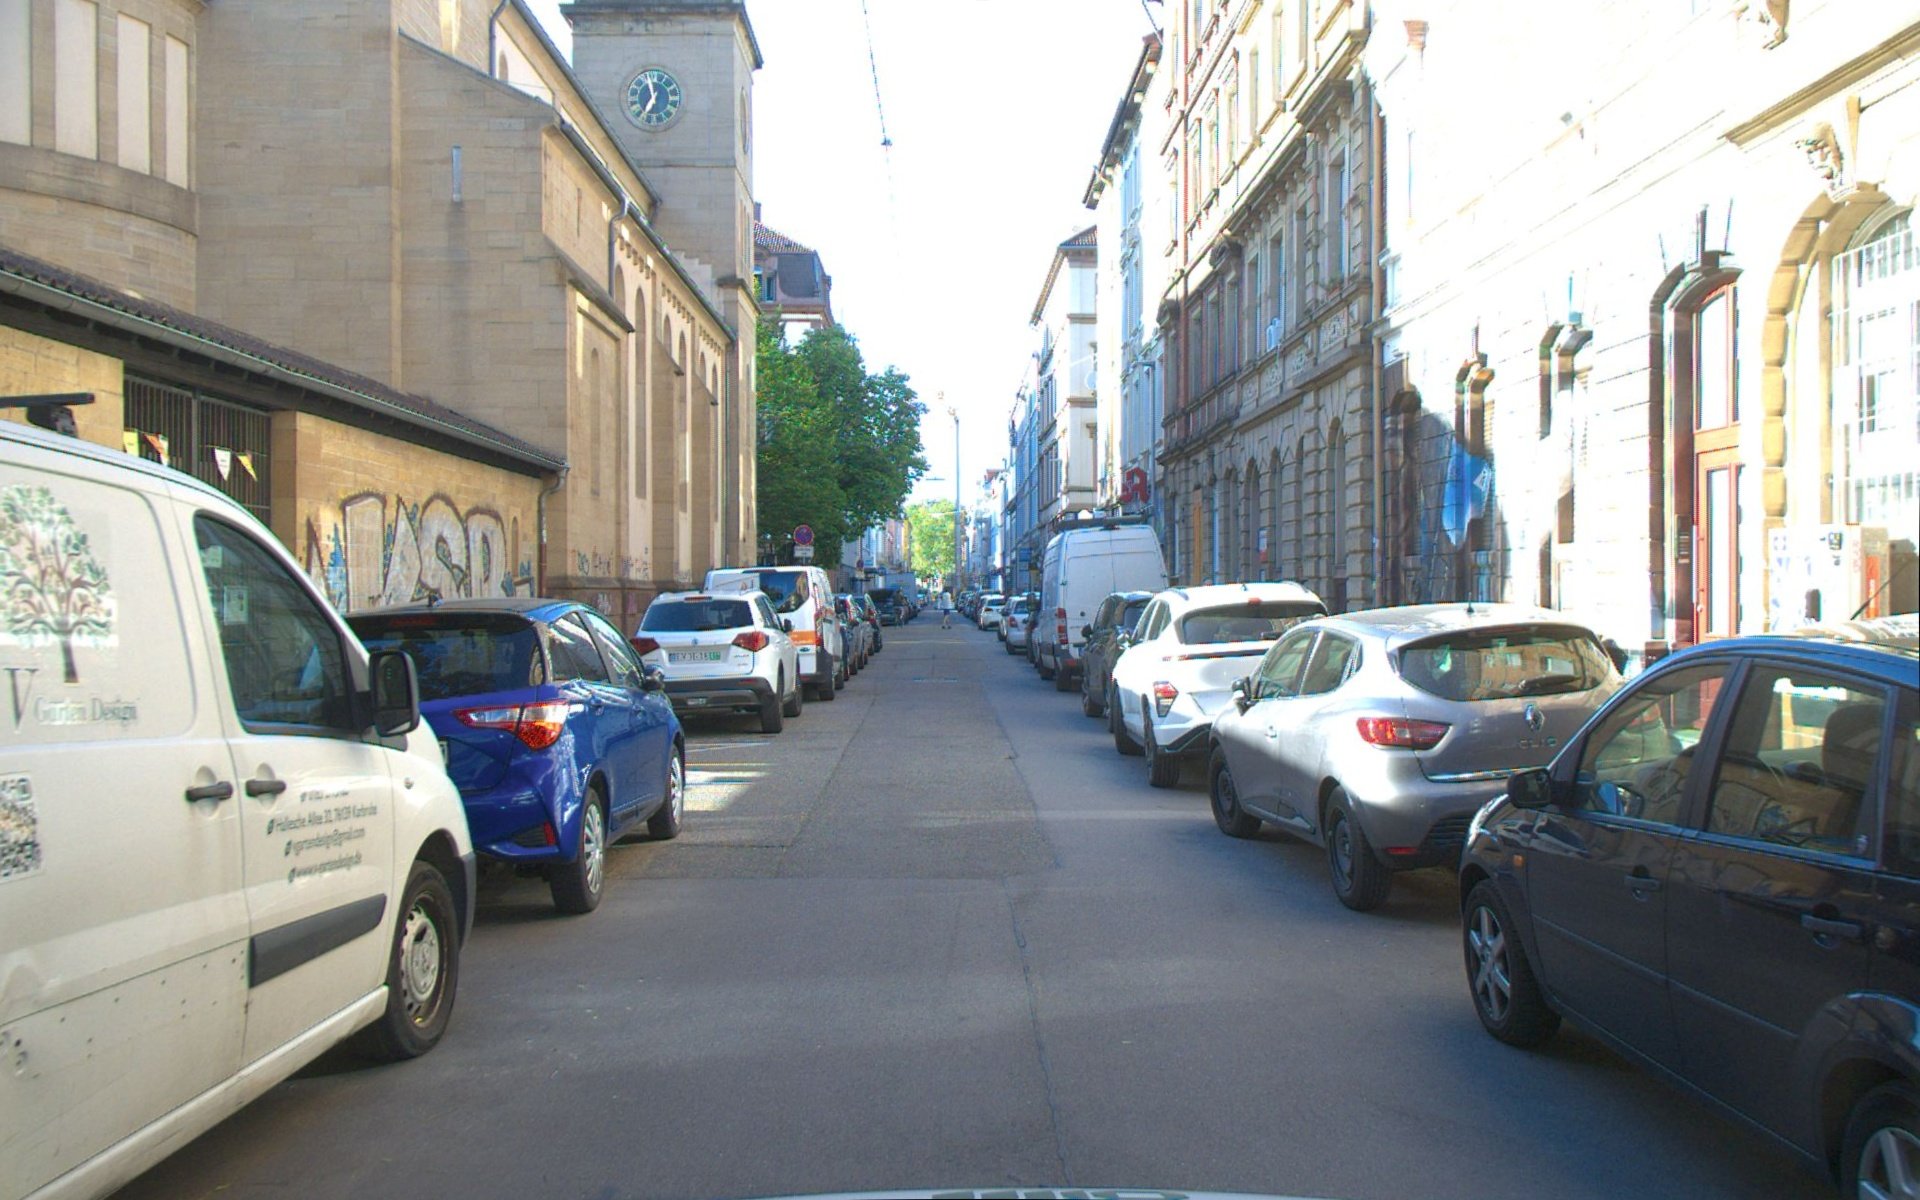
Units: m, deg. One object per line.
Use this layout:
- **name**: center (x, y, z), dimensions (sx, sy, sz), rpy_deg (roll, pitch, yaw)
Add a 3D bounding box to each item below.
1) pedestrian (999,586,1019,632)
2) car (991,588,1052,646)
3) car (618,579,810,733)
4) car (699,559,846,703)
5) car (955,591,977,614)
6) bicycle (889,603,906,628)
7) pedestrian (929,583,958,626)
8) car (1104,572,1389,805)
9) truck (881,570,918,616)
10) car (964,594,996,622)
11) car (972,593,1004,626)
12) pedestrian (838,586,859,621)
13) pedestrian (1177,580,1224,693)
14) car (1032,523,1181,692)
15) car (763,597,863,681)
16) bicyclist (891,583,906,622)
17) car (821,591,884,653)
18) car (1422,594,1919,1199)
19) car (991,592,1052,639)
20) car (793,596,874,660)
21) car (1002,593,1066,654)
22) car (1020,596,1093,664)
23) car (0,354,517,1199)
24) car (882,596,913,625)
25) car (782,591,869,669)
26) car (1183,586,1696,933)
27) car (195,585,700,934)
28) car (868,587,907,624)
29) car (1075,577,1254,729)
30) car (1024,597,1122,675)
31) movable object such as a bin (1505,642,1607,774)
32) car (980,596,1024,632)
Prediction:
- **pedestrian**: center (2.037, 0.357, 68.877), dimensions (0.669, 1.875, 0.692), rpy_deg (2, 0, -12)
- **car**: center (1.869, 0.495, 50.890), dimensions (1.681, 1.674, 4.000), rpy_deg (1, 0, 0)
- **car**: center (-2.820, 0.603, 19.741), dimensions (1.707, 1.614, 3.868), rpy_deg (1, 0, -1)
- **car**: center (-2.796, 0.431, 25.567), dimensions (1.826, 1.991, 4.609), rpy_deg (-1, 0, -1)
- **car**: center (0.568, 0.237, 150.643), dimensions (1.953, 2.049, 4.000), rpy_deg (1, 0, 0)
- **bicycle**: center (-2.808, 0.686, 74.421), dimensions (0.724, 1.062, 1.859), rpy_deg (1, 0, 0)
- **pedestrian**: center (-0.721, 0.205, 73.755), dimensions (0.998, 1.875, 0.777), rpy_deg (2, 0, -32)
- **car**: center (2.407, 0.705, 14.950), dimensions (1.771, 1.719, 4.214), rpy_deg (3, 0, 0)
- **truck**: center (-4.485, -0.497, 124.155), dimensions (2.480, 3.339, 6.993), rpy_deg (1, 0, 0)
- **car**: center (1.291, 0.515, 107.703), dimensions (1.953, 1.660, 4.000), rpy_deg (3, 0, 0)
- **car**: center (1.577, 0.521, 94.395), dimensions (1.733, 1.771, 4.000), rpy_deg (1, 0, 0)
- **pedestrian**: center (-5.358, 0.169, 79.382), dimensions (0.910, 1.666, 0.806), rpy_deg (1, 0, 0)
- **pedestrian**: center (3.941, 0.589, 27.093), dimensions (0.626, 1.803, 0.679), rpy_deg (2, -1, 14)
- **car**: center (2.470, 0.101, 29.424), dimensions (2.026, 2.656, 5.887), rpy_deg (2, 0, -1)
- **car**: center (-2.739, 0.684, 31.480), dimensions (1.582, 1.477, 3.949), rpy_deg (-1, 0, -1)
- **bicyclist**: center (-2.767, 0.110, 74.380), dimensions (0.593, 1.717, 0.885), rpy_deg (1, 0, -1)
- **car**: center (-3.001, 0.603, 46.678), dimensions (1.567, 1.642, 3.807), rpy_deg (-1, 0, -1)
- **car**: center (2.596, 0.758, 4.520), dimensions (1.504, 1.539, 3.680), rpy_deg (0, 0, -3)
- **car**: center (2.058, 0.505, 55.924), dimensions (1.682, 1.514, 3.867), rpy_deg (1, 0, -3)
- **car**: center (-3.094, 0.660, 40.983), dimensions (1.537, 1.422, 3.809), rpy_deg (-2, 0, 2)
- **car**: center (1.996, 0.622, 45.409), dimensions (1.571, 1.531, 4.000), rpy_deg (2, 0, 1)
- **car**: center (2.340, 0.703, 40.653), dimensions (1.537, 1.521, 3.653), rpy_deg (3, 0, 0)
- **car**: center (-2.578, 0.498, 3.920), dimensions (1.807, 1.895, 4.465), rpy_deg (1, 0, 0)
- **car**: center (-4.049, 0.673, 107.690), dimensions (1.837, 1.828, 4.000), rpy_deg (1, 0, 0)
- **car**: center (-2.846, 0.604, 35.686), dimensions (1.639, 1.586, 3.999), rpy_deg (0, 0, -2)
- **car**: center (2.519, 0.747, 9.690), dimensions (1.541, 1.551, 3.904), rpy_deg (3, 0, -5)
- **car**: center (-2.557, 0.692, 9.216), dimensions (1.653, 1.502, 3.859), rpy_deg (-1, 0, -1)
- **car**: center (-3.723, 0.267, 85.837), dimensions (1.837, 1.828, 4.000), rpy_deg (1, 0, 0)
- **car**: center (2.425, 0.589, 20.473), dimensions (1.653, 1.671, 3.924), rpy_deg (1, 0, -1)
- **car**: center (2.376, 0.723, 35.723), dimensions (1.743, 1.512, 4.359), rpy_deg (3, 0, -1)
- **movable object such as a bin**: center (5.103, 0.909, 14.170), dimensions (0.543, 1.071, 0.596), rpy_deg (-2, 0, -34)
- **car**: center (1.852, 0.598, 73.803), dimensions (1.859, 1.514, 3.869), rpy_deg (1, 0, 0)
